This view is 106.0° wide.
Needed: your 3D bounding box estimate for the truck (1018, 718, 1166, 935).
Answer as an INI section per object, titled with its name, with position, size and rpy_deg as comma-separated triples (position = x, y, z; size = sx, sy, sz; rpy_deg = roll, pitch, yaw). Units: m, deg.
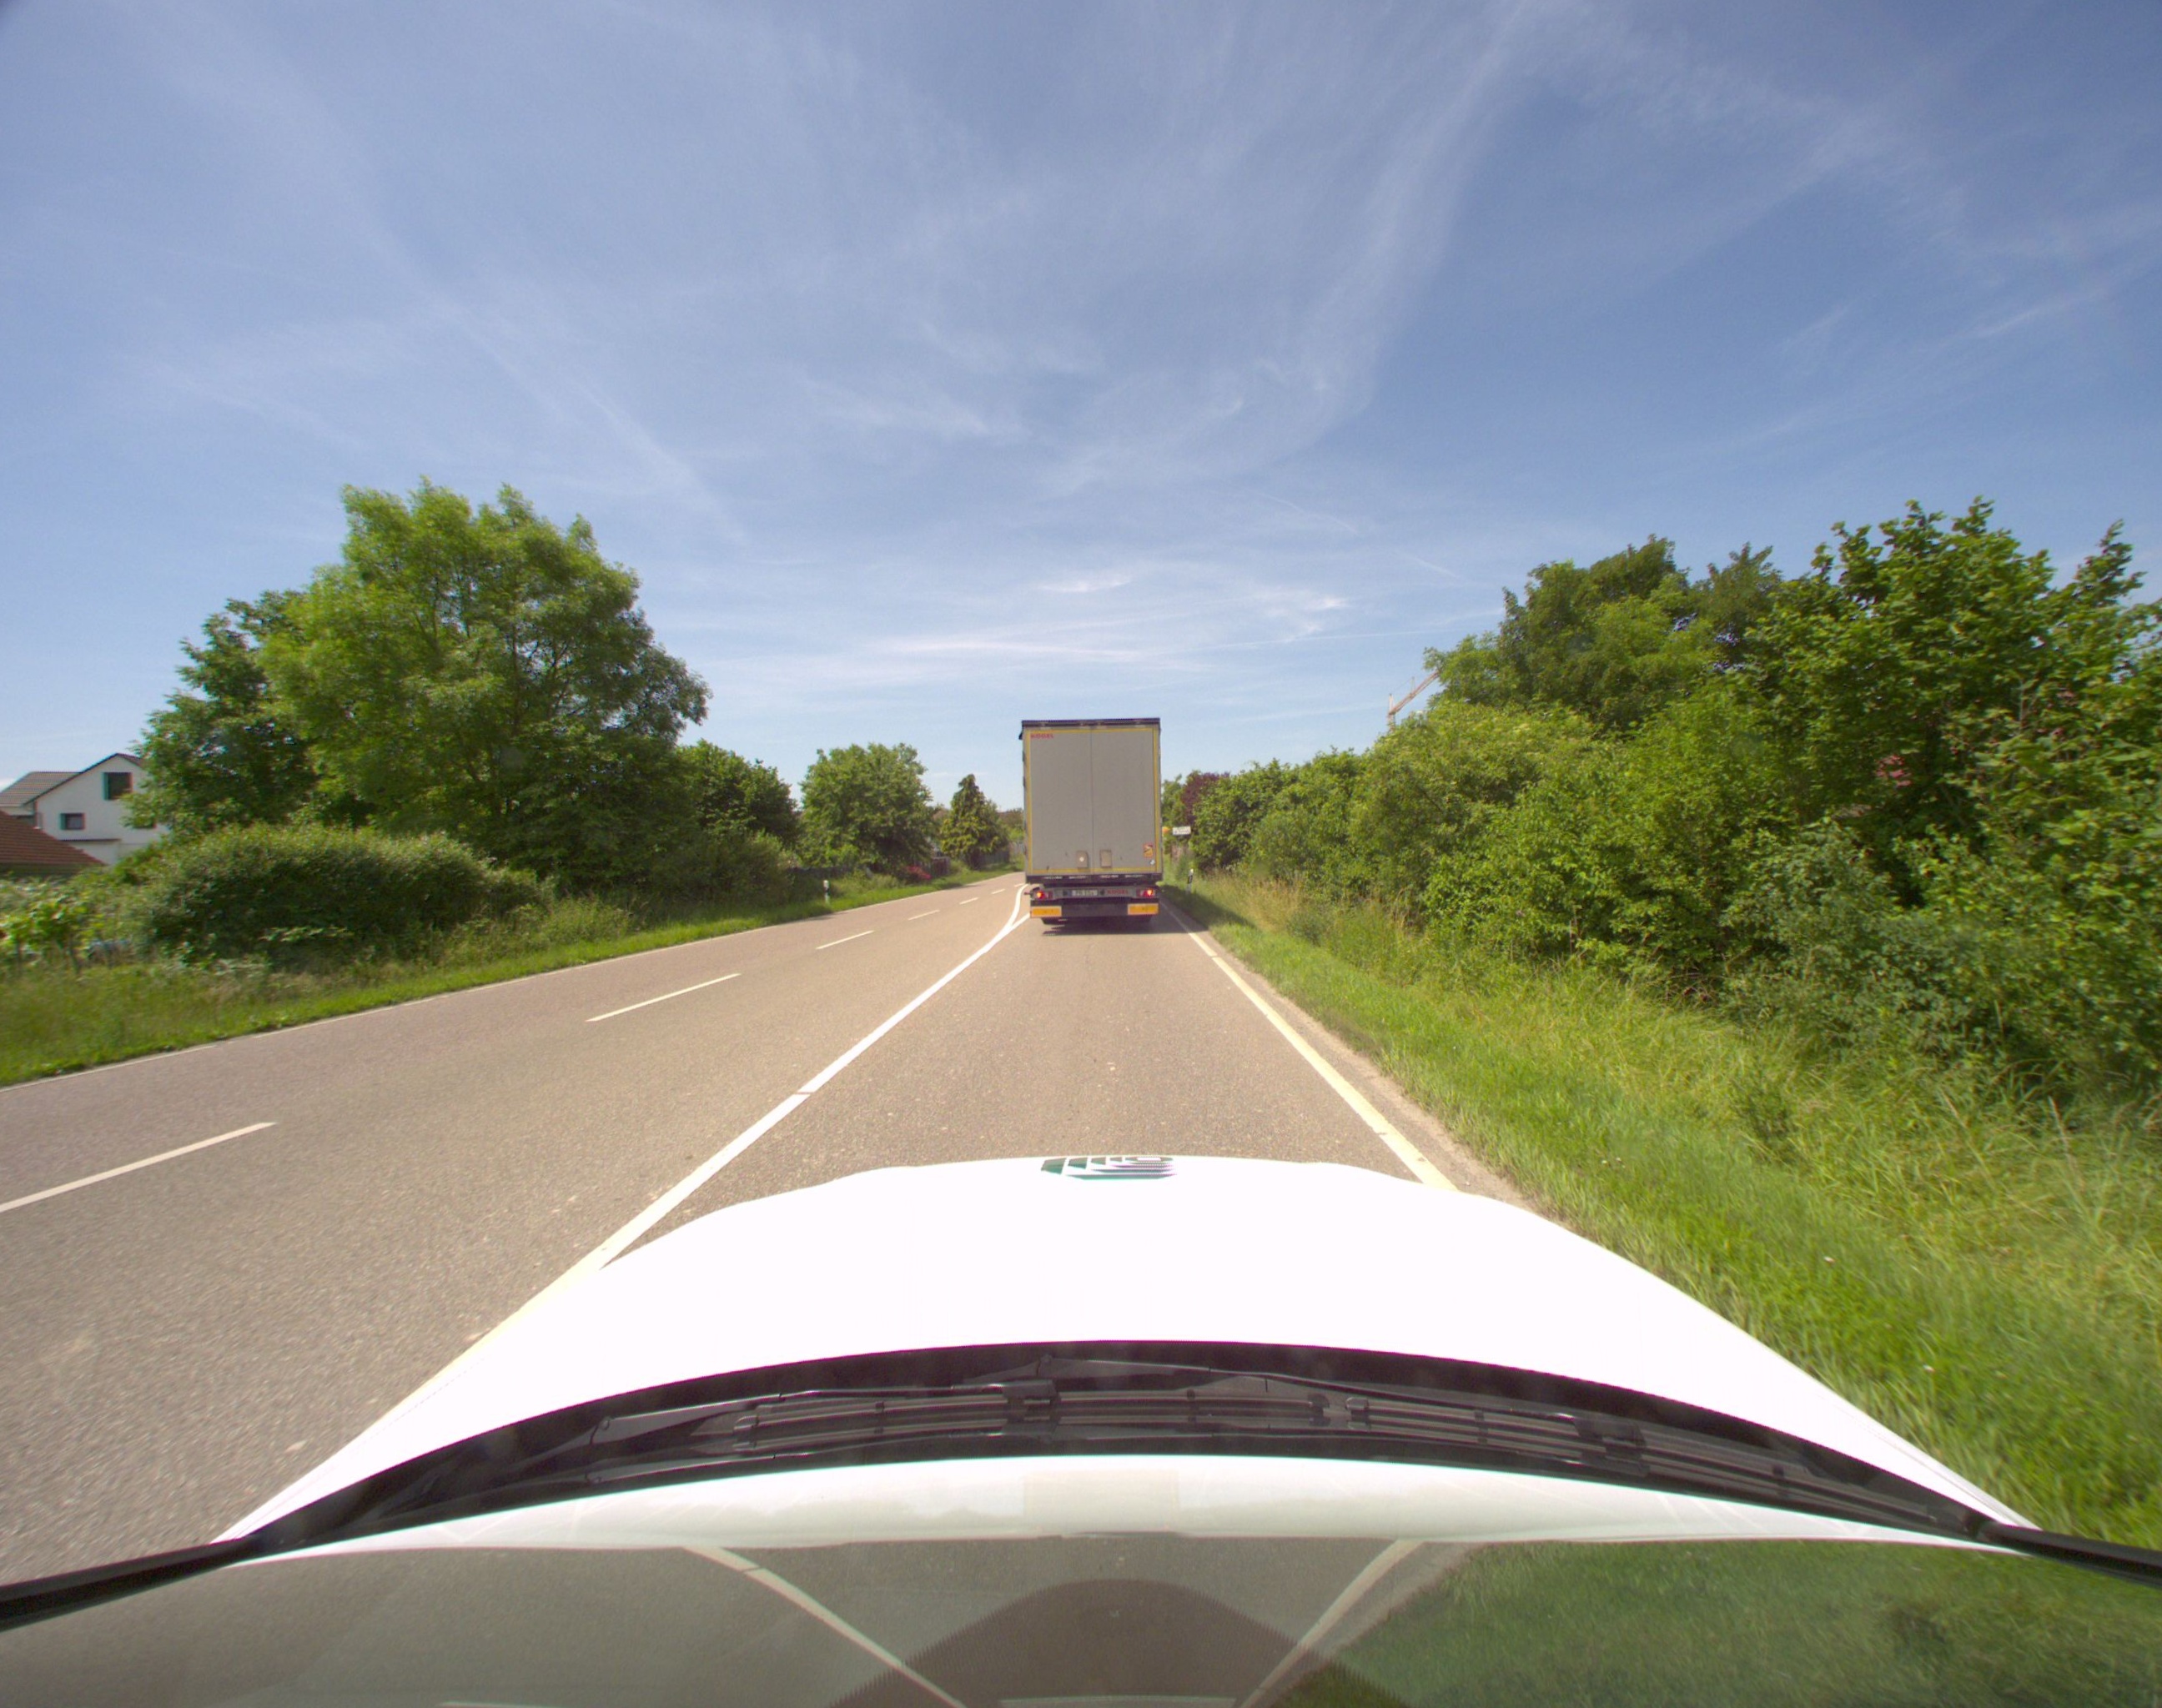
[truck]
position = 0.271, -0.505, 19.262
size = 2.638, 3.917, 8.825
rpy_deg = -1, 0, 1
